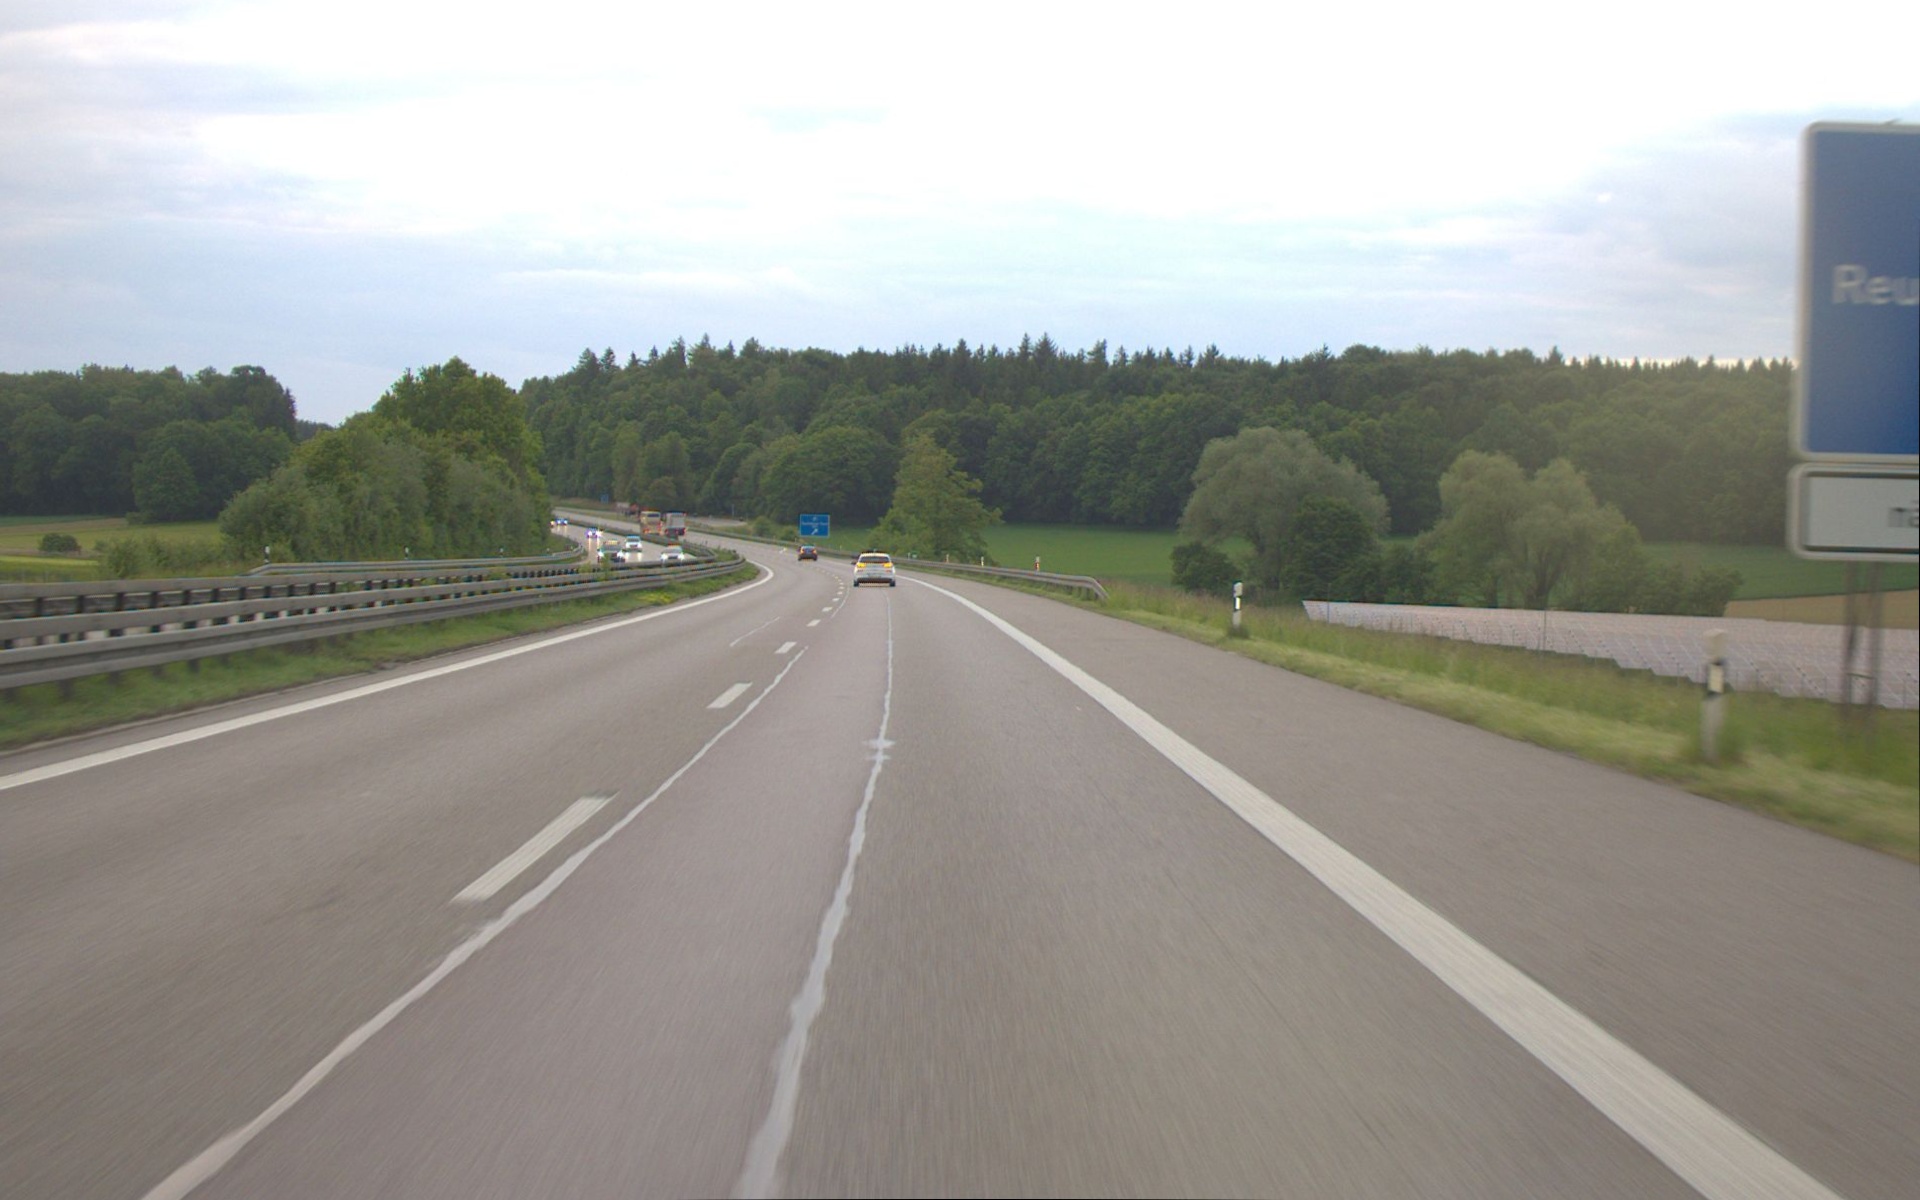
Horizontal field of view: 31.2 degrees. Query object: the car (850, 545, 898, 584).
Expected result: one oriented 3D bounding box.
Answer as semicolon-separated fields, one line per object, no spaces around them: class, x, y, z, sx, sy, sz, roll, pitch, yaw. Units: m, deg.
car;-3.756;-1.548;149.430;1.951;1.526;4.081;3;1;-3
